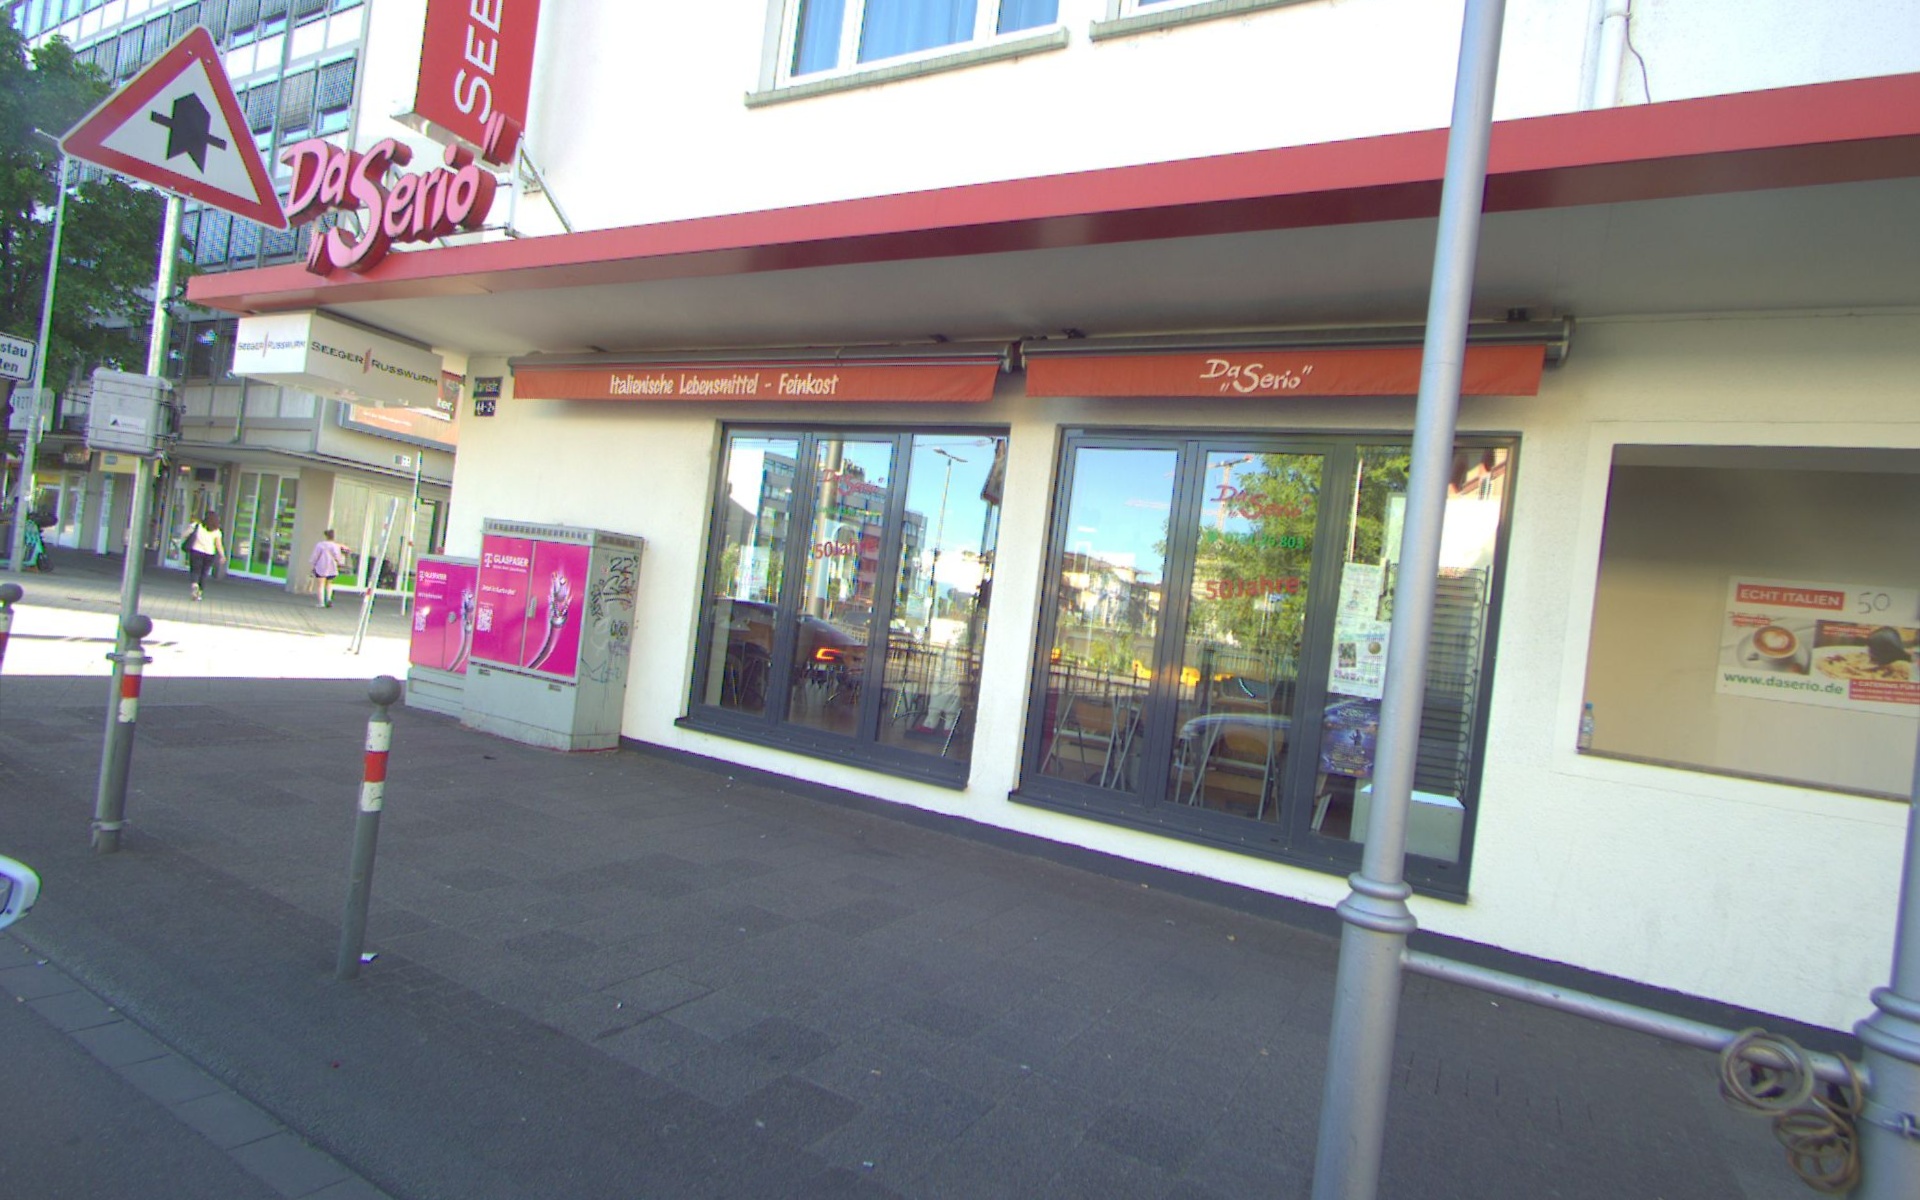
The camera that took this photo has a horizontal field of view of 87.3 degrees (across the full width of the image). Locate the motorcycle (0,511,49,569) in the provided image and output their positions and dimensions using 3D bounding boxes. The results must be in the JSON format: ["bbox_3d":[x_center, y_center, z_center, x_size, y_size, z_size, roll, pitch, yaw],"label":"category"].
[{"bbox_3d":[-21.566,-1.412,22.410,0.532,1.186,1.711,7,-2,30],"label":"motorcycle"}]

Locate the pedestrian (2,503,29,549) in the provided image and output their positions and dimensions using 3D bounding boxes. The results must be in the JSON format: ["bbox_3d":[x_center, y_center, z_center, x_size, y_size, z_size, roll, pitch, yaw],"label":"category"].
[{"bbox_3d":[-29.173,-2.288,31.064,0.504,1.359,0.390,6,-1,34],"label":"pedestrian"}]

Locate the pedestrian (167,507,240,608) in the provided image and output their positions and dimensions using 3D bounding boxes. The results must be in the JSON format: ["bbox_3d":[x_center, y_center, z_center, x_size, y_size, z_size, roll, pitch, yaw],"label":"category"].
[{"bbox_3d":[-14.517,-0.816,19.334,0.909,1.773,1.029,7,0,-35],"label":"pedestrian"}]

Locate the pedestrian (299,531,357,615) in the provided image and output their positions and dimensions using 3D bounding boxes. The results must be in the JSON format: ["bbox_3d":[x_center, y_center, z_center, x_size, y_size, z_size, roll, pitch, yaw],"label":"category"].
[{"bbox_3d":[-13.810,-0.584,21.978,0.884,1.687,0.801,8,-1,-35],"label":"pedestrian"}]

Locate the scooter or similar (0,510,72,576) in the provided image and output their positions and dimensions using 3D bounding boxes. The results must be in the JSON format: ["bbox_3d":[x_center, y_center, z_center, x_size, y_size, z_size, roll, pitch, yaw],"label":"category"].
[{"bbox_3d":[-19.937,-1.234,21.180,1.628,1.229,0.640,8,-1,-29],"label":"scooter or similar"}]
